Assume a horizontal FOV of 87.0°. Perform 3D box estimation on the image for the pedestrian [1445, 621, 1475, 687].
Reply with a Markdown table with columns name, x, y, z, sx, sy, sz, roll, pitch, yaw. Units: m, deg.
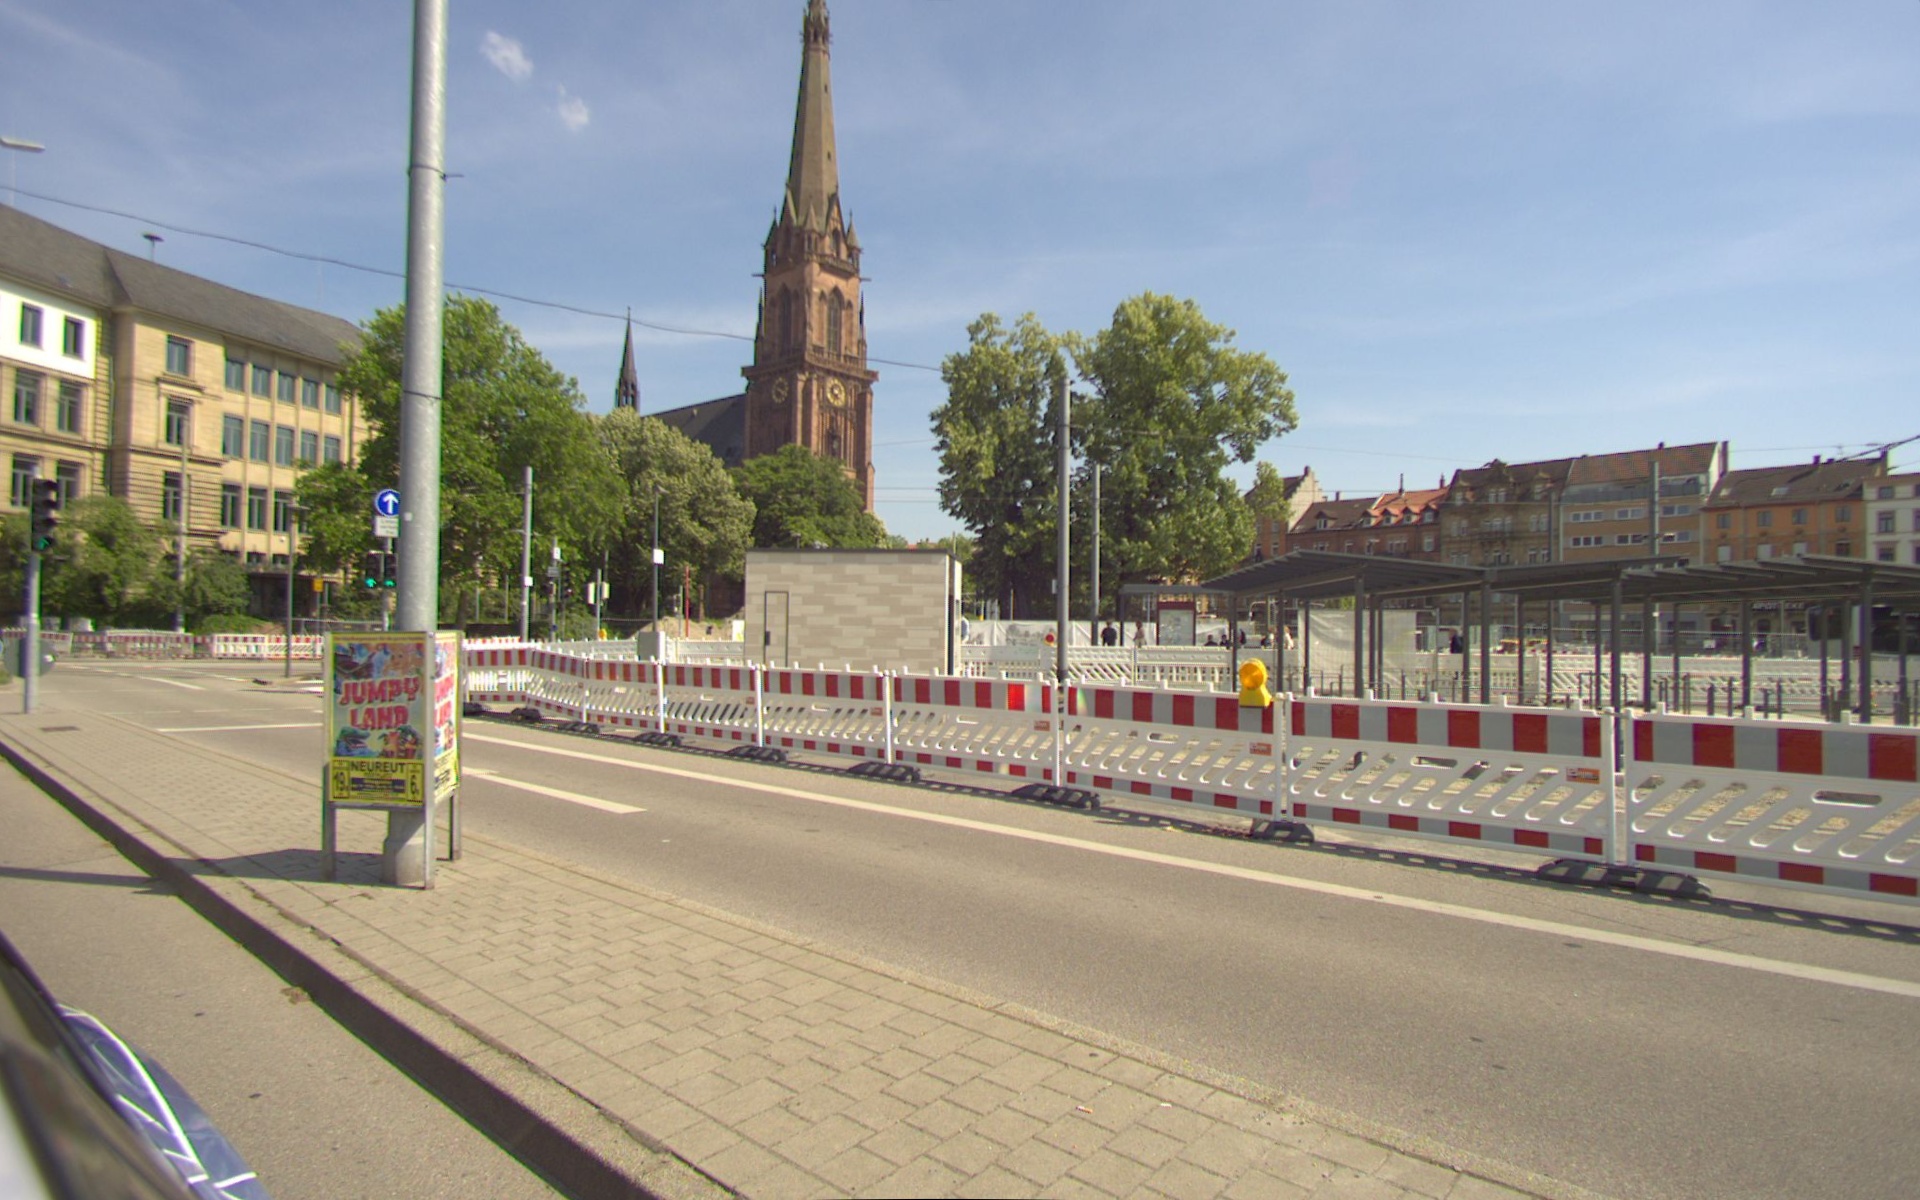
| name | x | y | z | sx | sy | sz | roll | pitch | yaw |
| --- | --- | --- | --- | --- | --- | --- | --- | --- | --- |
| pedestrian | 15.645 | 1.671 | 31.701 | 0.680 | 2.029 | 0.816 | 0 | -2 | 16 |

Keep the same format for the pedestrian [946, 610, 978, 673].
| name | x | y | z | sx | sy | sz | roll | pitch | yaw |
| --- | --- | --- | --- | --- | --- | --- | --- | --- | --- |
| pedestrian | 0.066 | 1.359 | 33.064 | 0.686 | 2.029 | 0.809 | -1 | -3 | 43 |

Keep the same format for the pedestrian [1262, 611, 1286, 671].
| name | x | y | z | sx | sy | sz | roll | pitch | yaw |
| --- | --- | --- | --- | --- | --- | --- | --- | --- | --- |
| pedestrian | 10.722 | 1.407 | 34.577 | 0.679 | 2.029 | 0.818 | 0 | -2 | 11 |

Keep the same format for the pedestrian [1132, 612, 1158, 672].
| name | x | y | z | sx | sy | sz | roll | pitch | yaw |
| --- | --- | --- | --- | --- | --- | --- | --- | --- | --- |
| pedestrian | 6.299 | 1.438 | 34.533 | 0.810 | 2.029 | 0.685 | 1 | -2 | 6 |

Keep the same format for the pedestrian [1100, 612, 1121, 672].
| name | x | y | z | sx | sy | sz | roll | pitch | yaw |
| --- | --- | --- | --- | --- | --- | --- | --- | --- | --- |
| pedestrian | 5.193 | 1.453 | 34.860 | 0.678 | 2.029 | 0.819 | 0 | -2 | 7 |

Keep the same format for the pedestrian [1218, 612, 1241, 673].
| name | x | y | z | sx | sy | sz | roll | pitch | yaw |
| --- | --- | --- | --- | --- | --- | --- | --- | --- | --- |
| pedestrian | 9.030 | 1.424 | 33.939 | 0.679 | 2.029 | 0.818 | 0 | -2 | 11 |

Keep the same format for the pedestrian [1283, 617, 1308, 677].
| name | x | y | z | sx | sy | sz | roll | pitch | yaw |
| --- | --- | --- | --- | --- | --- | --- | --- | --- | --- |
| pedestrian | 11.516 | 1.598 | 34.754 | 0.679 | 2.029 | 0.818 | 0 | -2 | 11 |

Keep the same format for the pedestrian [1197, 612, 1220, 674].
| name | x | y | z | sx | sy | sz | roll | pitch | yaw |
| --- | --- | --- | --- | --- | --- | --- | --- | --- | --- |
| pedestrian | 8.331 | 1.438 | 33.970 | 0.679 | 2.029 | 0.818 | 0 | -2 | 11 |
